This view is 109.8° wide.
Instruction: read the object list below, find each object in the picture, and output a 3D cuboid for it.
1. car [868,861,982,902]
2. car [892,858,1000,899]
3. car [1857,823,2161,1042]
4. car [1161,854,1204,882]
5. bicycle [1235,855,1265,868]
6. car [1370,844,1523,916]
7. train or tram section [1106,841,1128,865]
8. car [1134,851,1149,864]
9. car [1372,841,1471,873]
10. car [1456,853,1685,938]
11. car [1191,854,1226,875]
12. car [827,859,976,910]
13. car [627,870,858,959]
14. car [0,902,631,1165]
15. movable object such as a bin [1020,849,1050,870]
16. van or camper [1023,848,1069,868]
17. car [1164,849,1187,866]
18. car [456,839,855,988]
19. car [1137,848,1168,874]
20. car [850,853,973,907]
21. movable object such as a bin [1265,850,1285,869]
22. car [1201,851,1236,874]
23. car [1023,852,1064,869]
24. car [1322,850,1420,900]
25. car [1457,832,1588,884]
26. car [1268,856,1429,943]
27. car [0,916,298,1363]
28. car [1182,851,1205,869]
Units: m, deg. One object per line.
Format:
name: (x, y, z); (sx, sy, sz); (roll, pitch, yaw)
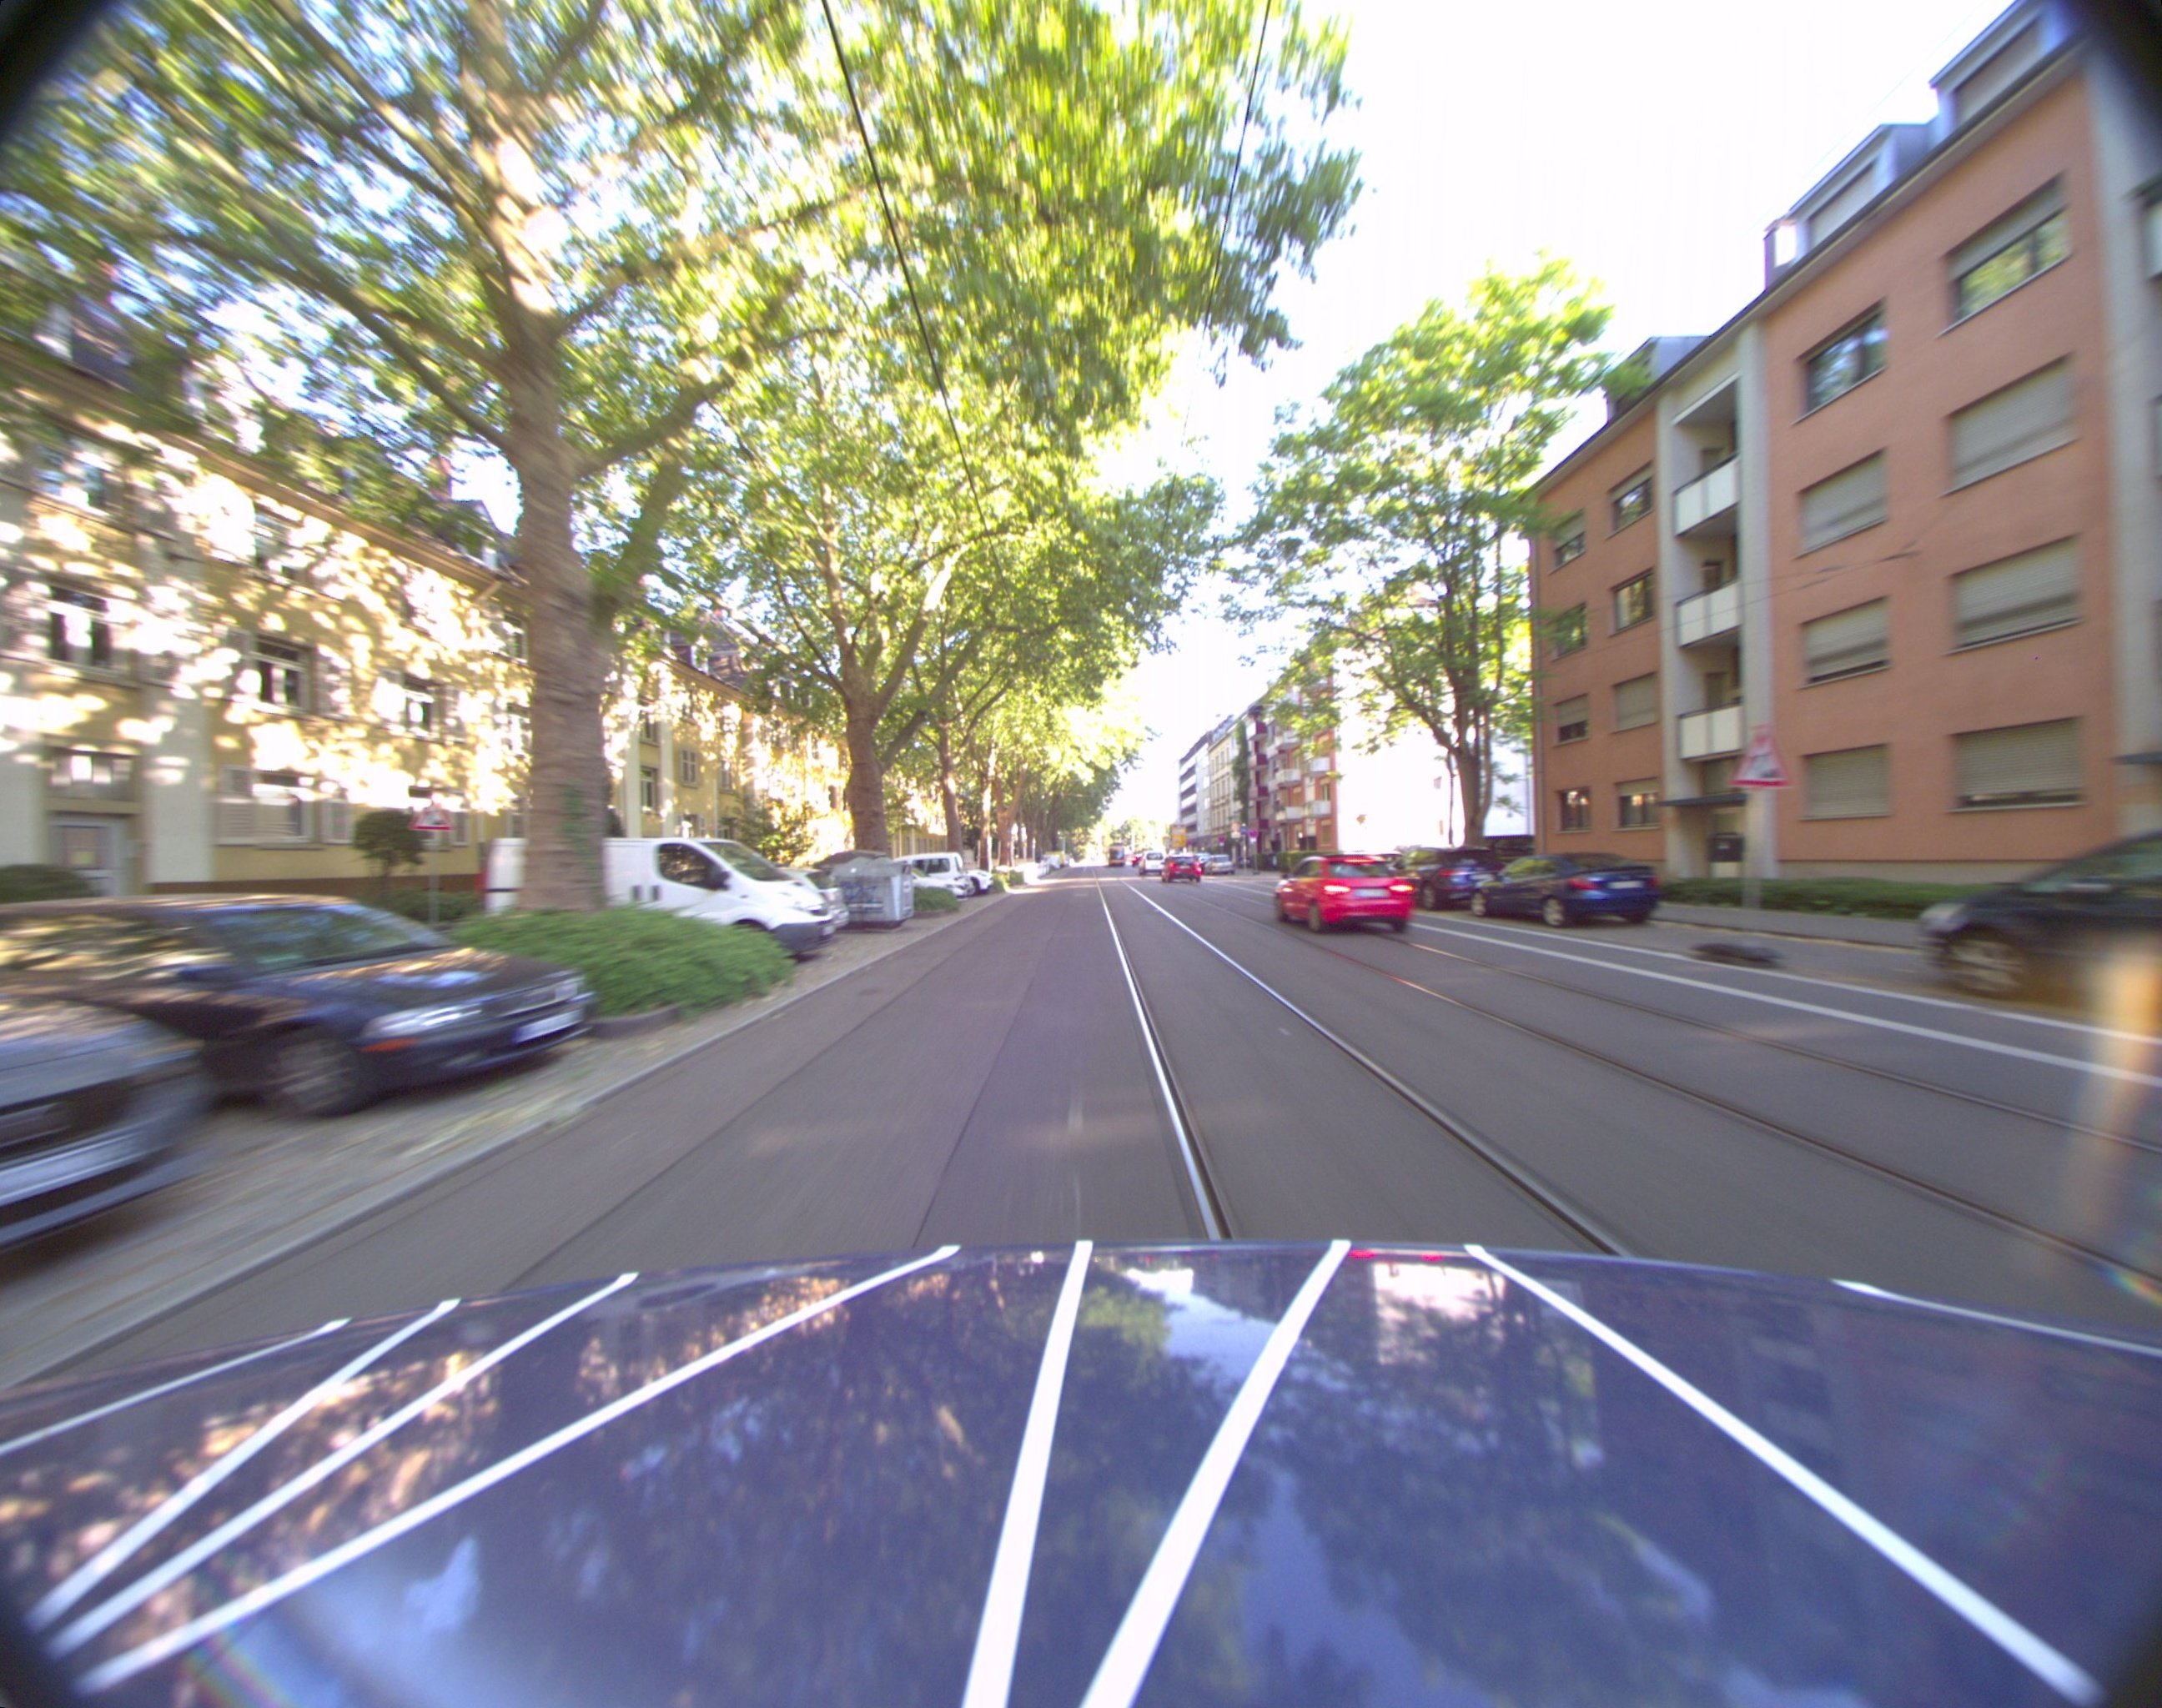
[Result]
car: (-5.897, 1.042, 29.060); (3.852, 1.424, 1.852); (-1, 0, 5)
car: (-5.509, 0.969, 31.373); (4.098, 1.512, 1.916); (-1, 1, 0)
car: (9.379, 0.585, 5.664); (1.957, 1.676, 5.070); (-2, 0, 0)
car: (5.410, 0.711, 40.861); (1.780, 1.449, 4.202); (0, 0, 0)
bicycle: (15.126, 0.672, 68.067); (2.457, 1.056, 0.699); (-3, 0, -2)
car: (9.574, 0.626, 20.386); (1.785, 1.601, 4.587); (-4, 0, 0)
train or tram section: (5.516, -0.126, 118.747); (2.916, 3.465, 14.198); (-1, 0, 1)
car: (8.510, 0.476, 107.112); (1.857, 1.591, 4.465); (-2, 0, 4)
car: (18.573, 0.139, 41.539); (4.544, 1.597, 1.937); (-1, 2, 1)
car: (9.610, 0.725, 15.421); (1.742, 1.392, 4.382); (-3, 0, 0)
car: (9.931, 0.797, 59.386); (1.957, 1.387, 4.863); (-4, 0, 2)
car: (-5.815, 0.968, 24.932); (4.380, 1.533, 1.802); (-1, 0, 5)
car: (-6.187, 1.078, 14.196); (3.536, 1.438, 1.672); (-1, 0, -2)
car: (-5.930, 1.135, 5.410); (4.406, 1.372, 1.804); (-1, 1, 5)
movable object such as a bin: (-4.986, 0.581, 82.390); (1.482, 2.256, 3.283); (-1, 0, 34)
van or camper: (-4.669, 0.492, 102.140); (5.939, 2.614, 2.270); (-1, 1, 3)
car: (10.693, 0.431, 85.853); (1.793, 1.760, 4.470); (-3, 0, -2)
car: (-6.209, 0.821, 11.603); (4.849, 1.952, 2.064); (-1, 0, -1)
car: (5.431, 0.496, 57.983); (1.896, 1.821, 4.895); (-1, 0, 0)
car: (-5.987, 0.892, 27.097); (3.852, 1.761, 1.917); (-1, 0, 5)
movable object such as a bin: (13.888, 0.402, 54.374); (1.214, 1.357, 0.747); (-1, 1, 2)
car: (9.773, 0.572, 54.191); (1.729, 1.474, 3.930); (-4, 0, 0)
car: (-4.522, 0.752, 92.554); (4.847, 2.001, 2.063); (-1, 0, 1)
car: (9.781, 0.651, 25.967); (1.810, 1.469, 4.090); (-3, 0, 2)
car: (19.597, 0.176, 33.970); (2.003, 2.111, 4.712); (-2, 1, -27)
car: (4.997, 0.768, 14.809); (1.727, 1.428, 4.069); (-1, 0, 0)
car: (-5.905, 1.081, 2.698); (4.258, 1.475, 1.898); (-1, 0, 1)
car: (10.289, 0.527, 69.497); (1.630, 1.563, 3.781); (-3, 1, 2)
